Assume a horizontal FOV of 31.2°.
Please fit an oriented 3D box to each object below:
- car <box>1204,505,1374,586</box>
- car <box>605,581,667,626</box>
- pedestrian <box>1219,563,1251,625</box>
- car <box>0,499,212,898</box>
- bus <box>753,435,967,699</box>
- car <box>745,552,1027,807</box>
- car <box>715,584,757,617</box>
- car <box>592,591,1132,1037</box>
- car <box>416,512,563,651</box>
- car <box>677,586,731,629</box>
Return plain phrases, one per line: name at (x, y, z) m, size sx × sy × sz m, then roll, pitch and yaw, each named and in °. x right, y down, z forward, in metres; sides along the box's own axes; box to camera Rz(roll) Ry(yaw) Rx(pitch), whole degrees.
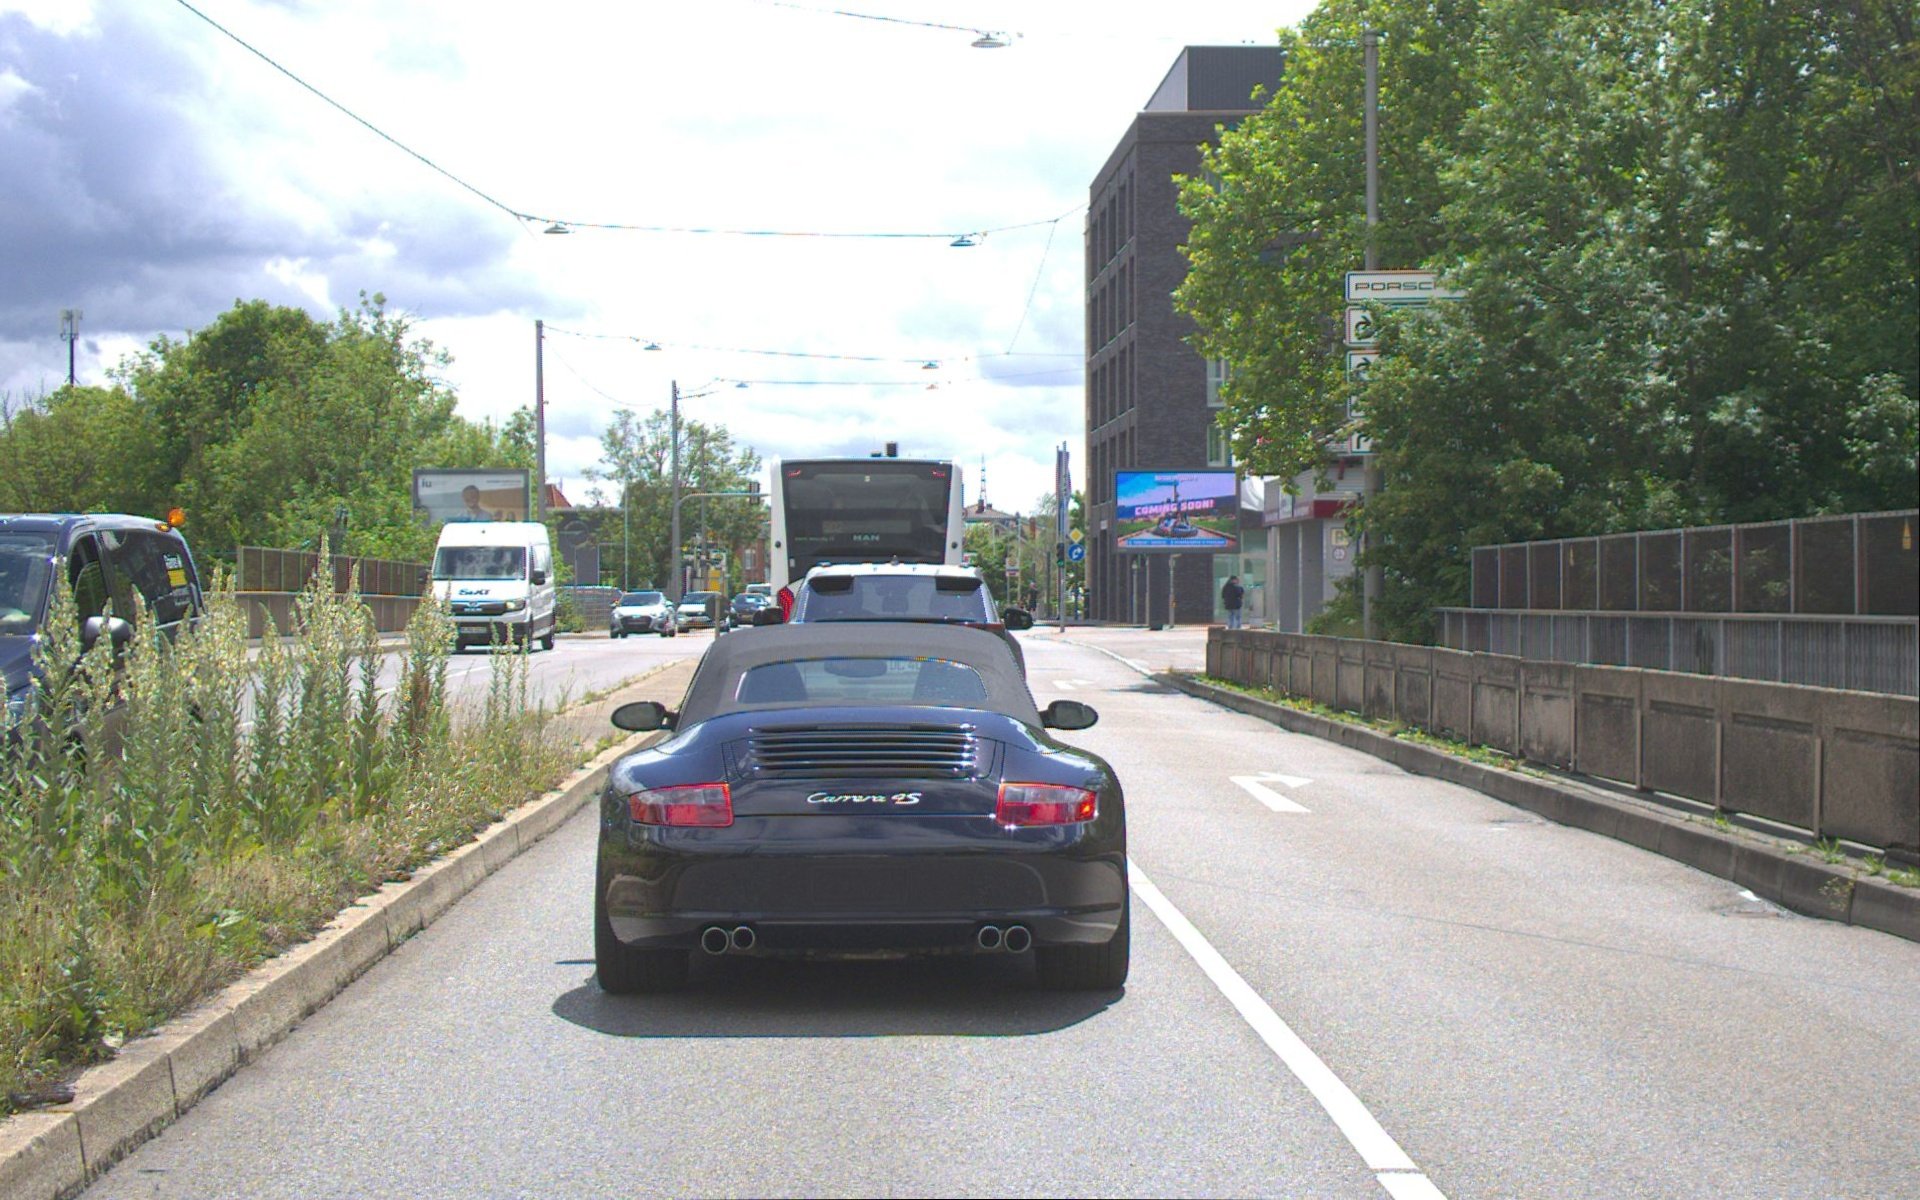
car at (8.701, -1.435, 91.151) m, size 4.230 × 1.930 × 2.029 m, roll -2°, pitch 0°, yaw 0°
car at (-10.129, 0.085, 107.699) m, size 1.637 × 1.359 × 4.195 m, roll 0°, pitch 1°, yaw -1°
pedestrian at (7.449, -0.161, 93.168) m, size 0.681 × 1.690 × 0.597 m, roll 0°, pitch 0°, yaw 24°
car at (-5.463, 0.419, 18.595) m, size 1.993 × 1.882 × 4.869 m, roll 0°, pitch 1°, yaw -3°
bus at (-1.321, -0.711, 50.588) m, size 2.689 × 3.244 × 12.059 m, roll 2°, pitch 3°, yaw 0°
car at (-0.539, 0.513, 25.482) m, size 1.879 × 1.588 × 4.230 m, roll 1°, pitch 2°, yaw -1°
car at (-9.753, 0.035, 149.738) m, size 1.628 × 1.426 × 4.000 m, roll 0°, pitch 0°, yaw -1°
car at (-0.386, 0.687, 13.120) m, size 1.719 × 1.271 × 4.089 m, roll 1°, pitch 2°, yaw -2°
car at (-9.204, -0.378, 67.771) m, size 2.066 × 2.562 × 6.822 m, roll -1°, pitch 1°, yaw -1°
car at (-9.552, 0.266, 128.580) m, size 1.810 × 1.555 × 4.207 m, roll 1°, pitch 0°, yaw -2°
